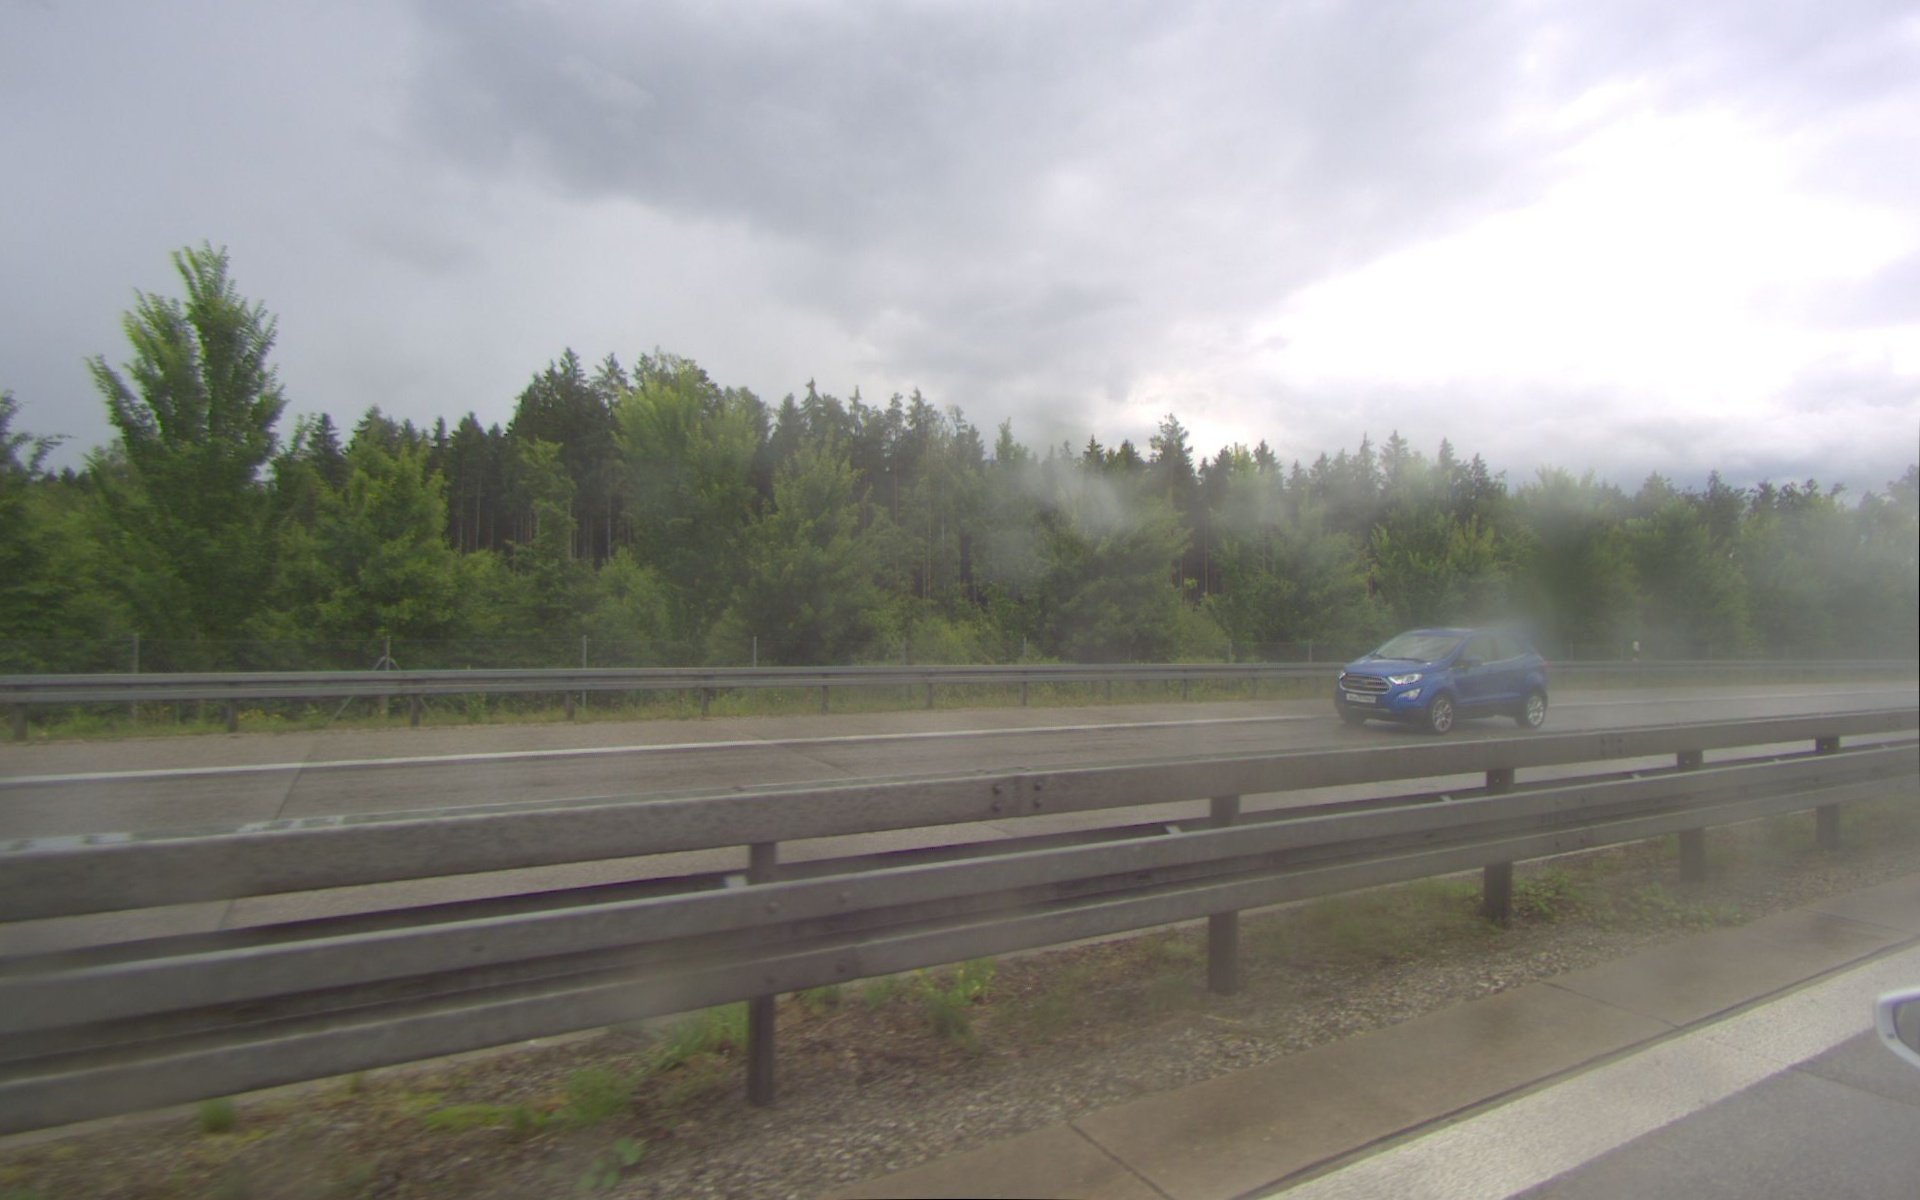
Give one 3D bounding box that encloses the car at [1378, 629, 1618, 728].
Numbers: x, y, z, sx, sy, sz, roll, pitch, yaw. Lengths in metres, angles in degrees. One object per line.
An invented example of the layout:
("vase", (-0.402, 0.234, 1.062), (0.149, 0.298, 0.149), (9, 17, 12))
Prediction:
("car", (9.600, 1.349, 17.870), (4.173, 1.519, 1.892), (3, -1, -31))
